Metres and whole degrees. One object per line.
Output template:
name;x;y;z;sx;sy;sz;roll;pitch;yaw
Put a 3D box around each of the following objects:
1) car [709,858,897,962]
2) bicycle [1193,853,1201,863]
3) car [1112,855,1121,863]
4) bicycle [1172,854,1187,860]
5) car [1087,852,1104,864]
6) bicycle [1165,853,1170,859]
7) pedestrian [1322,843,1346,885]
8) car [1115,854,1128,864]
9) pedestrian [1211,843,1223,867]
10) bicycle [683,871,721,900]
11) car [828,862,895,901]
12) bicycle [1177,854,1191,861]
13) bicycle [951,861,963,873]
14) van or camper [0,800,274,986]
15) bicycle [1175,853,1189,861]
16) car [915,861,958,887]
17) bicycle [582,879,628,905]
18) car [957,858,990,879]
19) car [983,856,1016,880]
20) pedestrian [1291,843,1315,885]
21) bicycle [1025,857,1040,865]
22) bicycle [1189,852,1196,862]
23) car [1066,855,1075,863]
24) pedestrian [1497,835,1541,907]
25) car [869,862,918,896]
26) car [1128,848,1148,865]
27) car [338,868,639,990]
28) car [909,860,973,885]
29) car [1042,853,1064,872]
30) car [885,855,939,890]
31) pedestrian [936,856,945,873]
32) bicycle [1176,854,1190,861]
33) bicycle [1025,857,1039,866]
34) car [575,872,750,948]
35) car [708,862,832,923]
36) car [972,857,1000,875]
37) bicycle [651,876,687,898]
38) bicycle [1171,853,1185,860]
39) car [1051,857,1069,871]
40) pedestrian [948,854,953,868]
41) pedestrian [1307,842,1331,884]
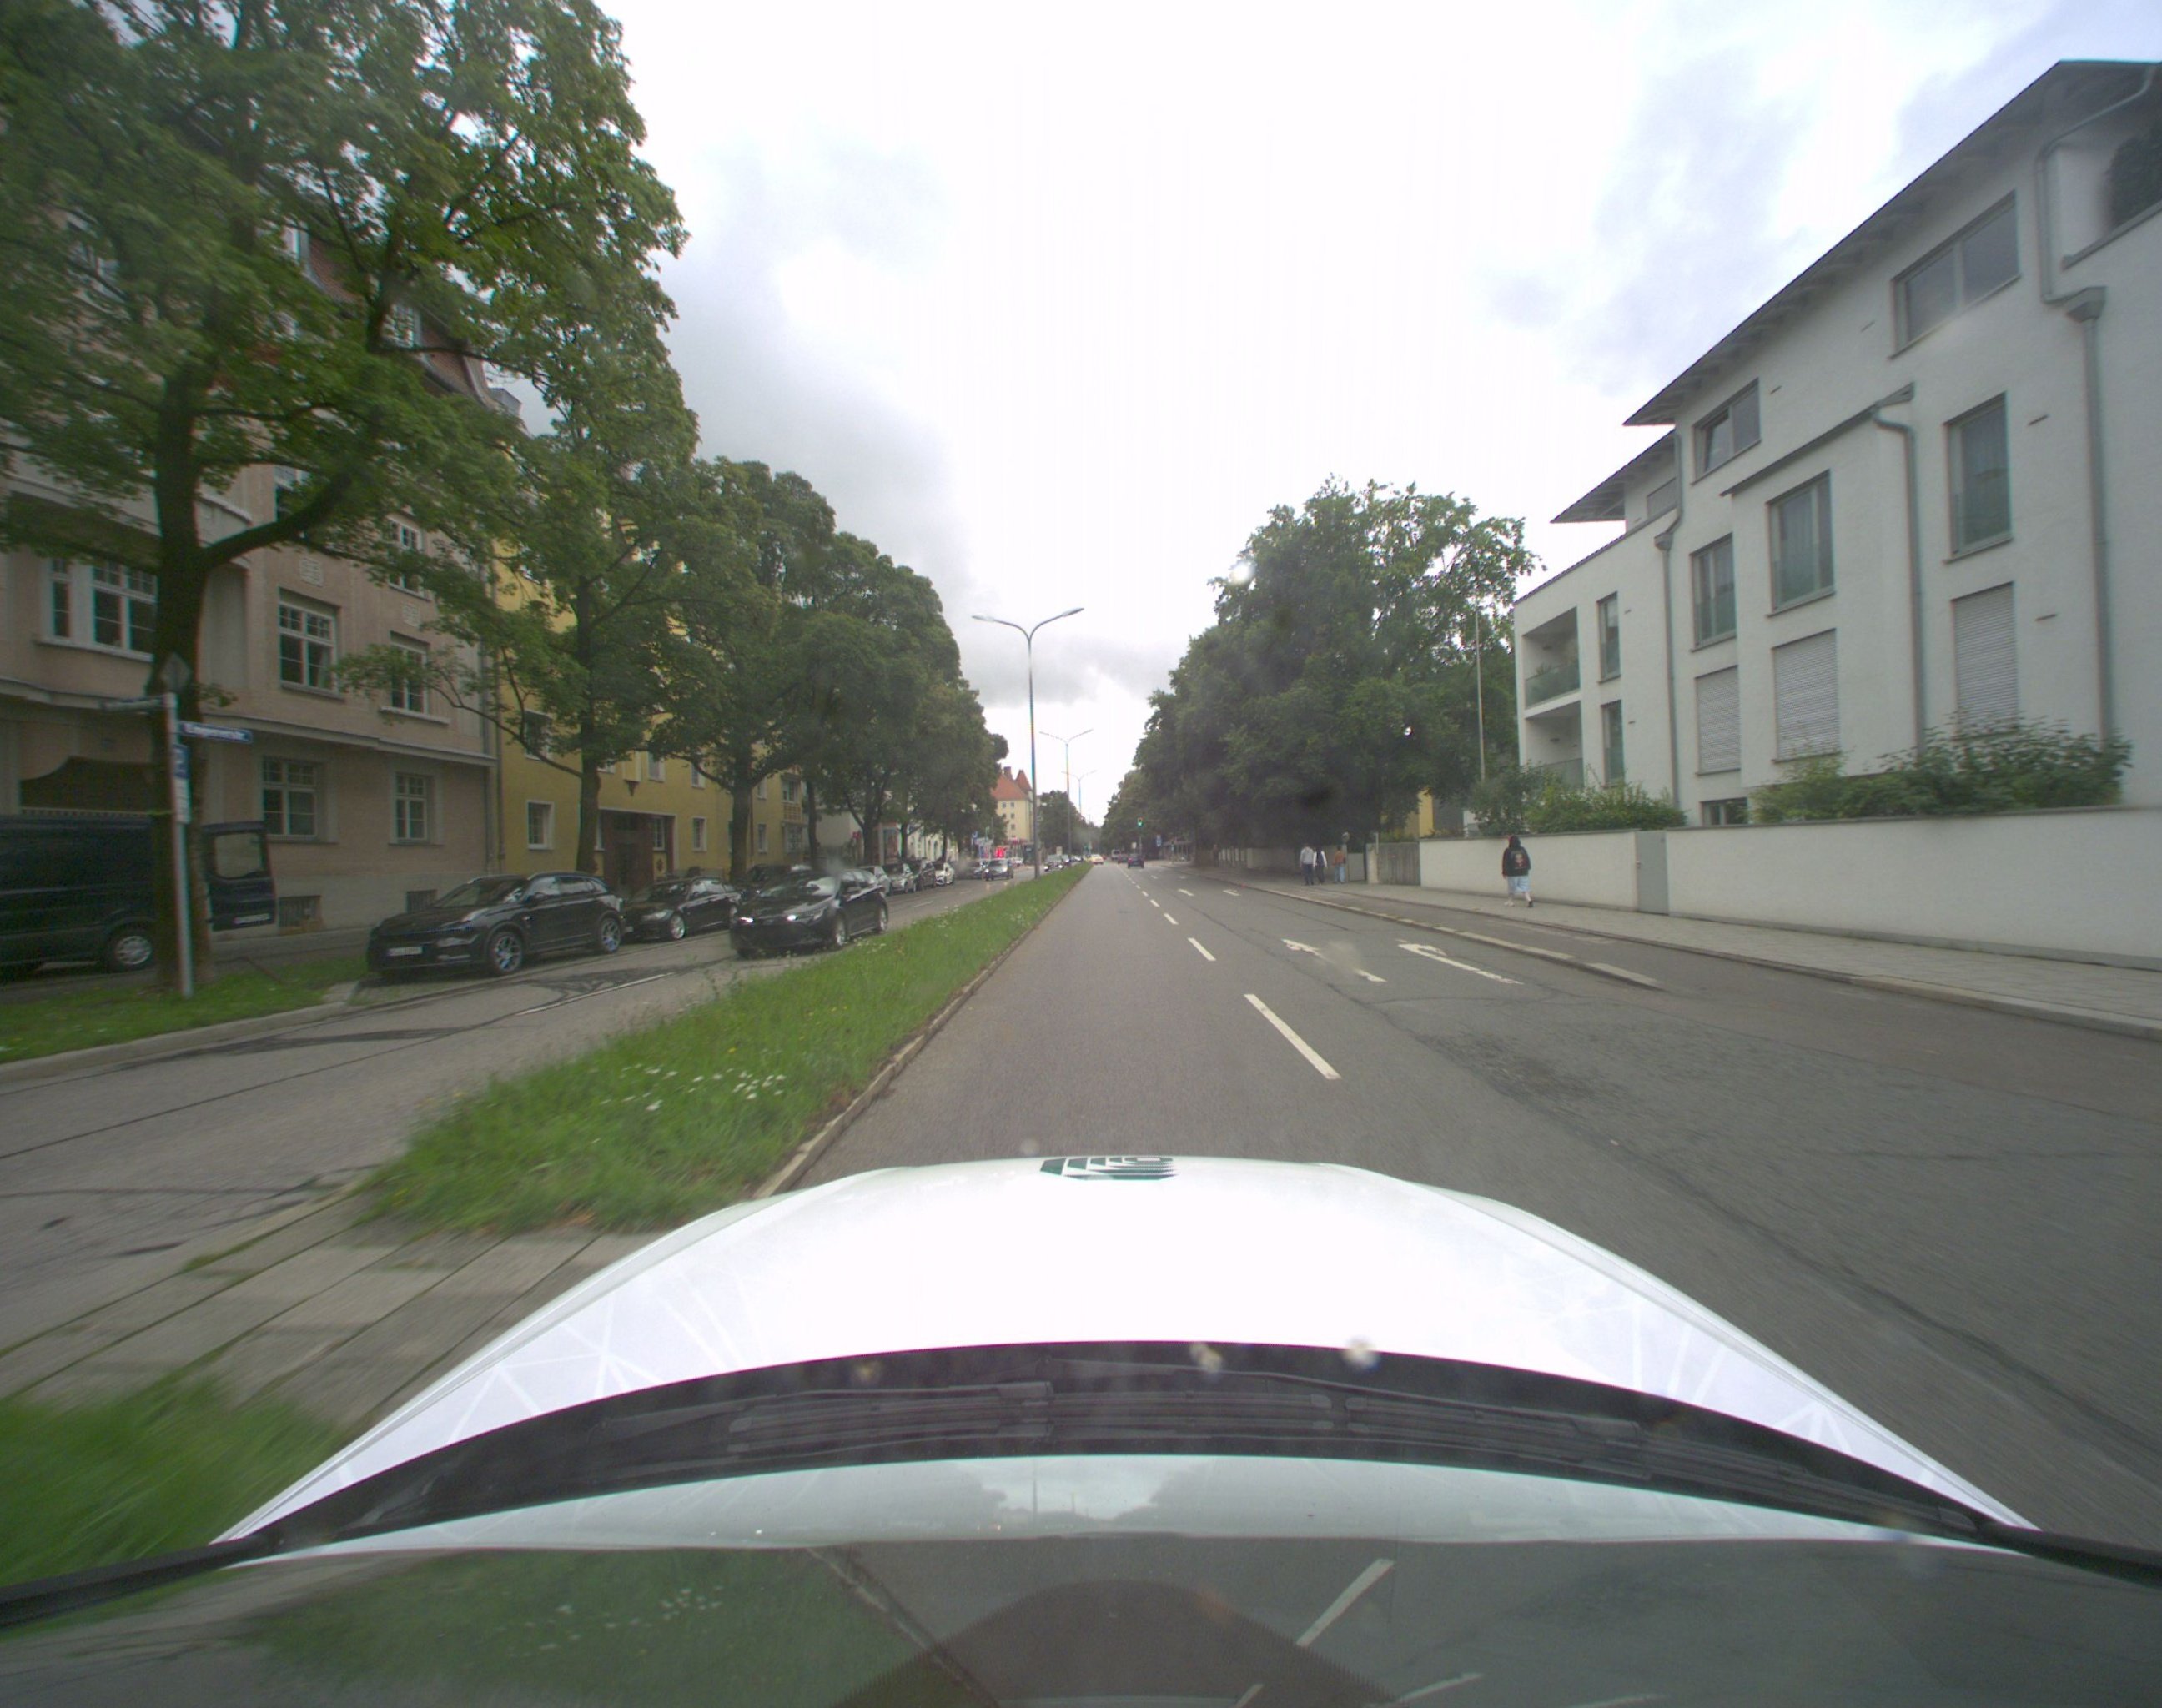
car;-4.921;0.904;15.145;1.804;1.507;4.325;-4;0;2
bicycle;12.559;0.438;88.073;0.620;1.090;2.026;-2;0;1
car;8.423;1.090;193.012;1.986;1.756;4.001;-2;0;1
bicycle;15.359;0.469;126.890;2.130;1.014;0.604;-2;0;9
car;2.071;0.598;117.598;1.777;1.647;4.770;-2;0;-7
bicycle;14.196;0.327;133.205;0.555;1.014;2.015;-2;0;0
pedestrian;10.605;0.416;34.125;0.664;1.705;0.766;-4;0;0
car;5.986;0.682;120.276;1.772;1.474;3.894;0;0;2
pedestrian;11.300;0.048;67.721;0.774;1.942;0.803;-3;0;2
bicycle;-17.511;1.450;37.709;0.767;1.222;1.931;-2;0;1
car;-9.603;1.166;35.968;1.720;1.561;4.059;-2;0;2
bicycle;15.782;0.537;124.704;2.130;1.014;0.636;-2;0;9
bicycle;-11.943;1.291;78.611;0.460;1.115;1.947;-2;0;-30
van or camper;-16.166;0.574;11.594;2.337;2.579;6.854;-1;0;2
bicycle;15.584;0.486;125.515;2.130;1.071;0.604;-2;0;9
car;-8.910;1.207;50.668;1.720;1.403;4.406;-2;0;2
bicycle;-18.127;1.435;31.066;0.539;0.899;1.931;-2;0;2
car;-8.432;1.115;64.487;1.804;1.507;4.647;-2;0;2
car;-5.809;0.978;58.557;1.804;1.507;4.059;-3;0;2
pedestrian;9.264;0.417;33.997;0.664;1.722;0.729;-4;0;0
bicycle;-7.904;1.173;133.338;2.275;1.304;0.694;-2;0;2
bicycle;14.104;0.387;103.195;0.597;1.121;1.890;-2;-1;2
car;-2.258;1.073;175.252;1.753;1.460;4.001;-2;0;1
pedestrian;9.990;0.387;18.601;0.526;1.581;0.729;-4;0;1
car;-9.276;1.196;40.505;1.721;1.558;3.009;-2;0;0
car;5.989;0.266;85.885;1.850;1.684;4.001;-2;0;1
car;-9.961;1.144;14.252;1.866;1.687;4.440;-2;0;2
car;-9.294;1.214;54.266;3.877;1.464;1.732;-2;0;0
car;-2.742;0.816;81.237;1.763;1.679;4.370;-3;0;2
car;-9.206;0.975;44.788;1.803;1.728;4.769;-2;0;2
pedestrian;-14.355;1.104;83.113;0.594;1.697;0.937;-2;0;-26
bicycle;15.580;0.552;124.173;2.130;1.014;0.604;-2;0;9
bicycle;-7.950;1.183;132.591;2.262;1.304;0.704;-2;0;2
car;-9.749;1.236;19.417;1.686;1.454;4.494;-2;0;2
car;-9.564;1.124;25.527;1.871;1.645;4.772;-2;0;2
car;-8.264;1.012;70.786;1.804;1.507;3.962;-2;0;2
bicycle;-17.890;1.422;35.413;0.539;0.899;1.931;-2;0;2
bicycle;15.272;0.439;127.632;2.130;1.086;0.604;-2;0;9
car;-2.621;1.260;103.101;1.868;1.585;4.623;-4;0;2
pedestrian;-15.391;0.824;96.204;0.422;1.631;0.779;-2;0;-14
pedestrian;9.937;0.372;34.008;0.664;1.693;0.729;-4;0;0
